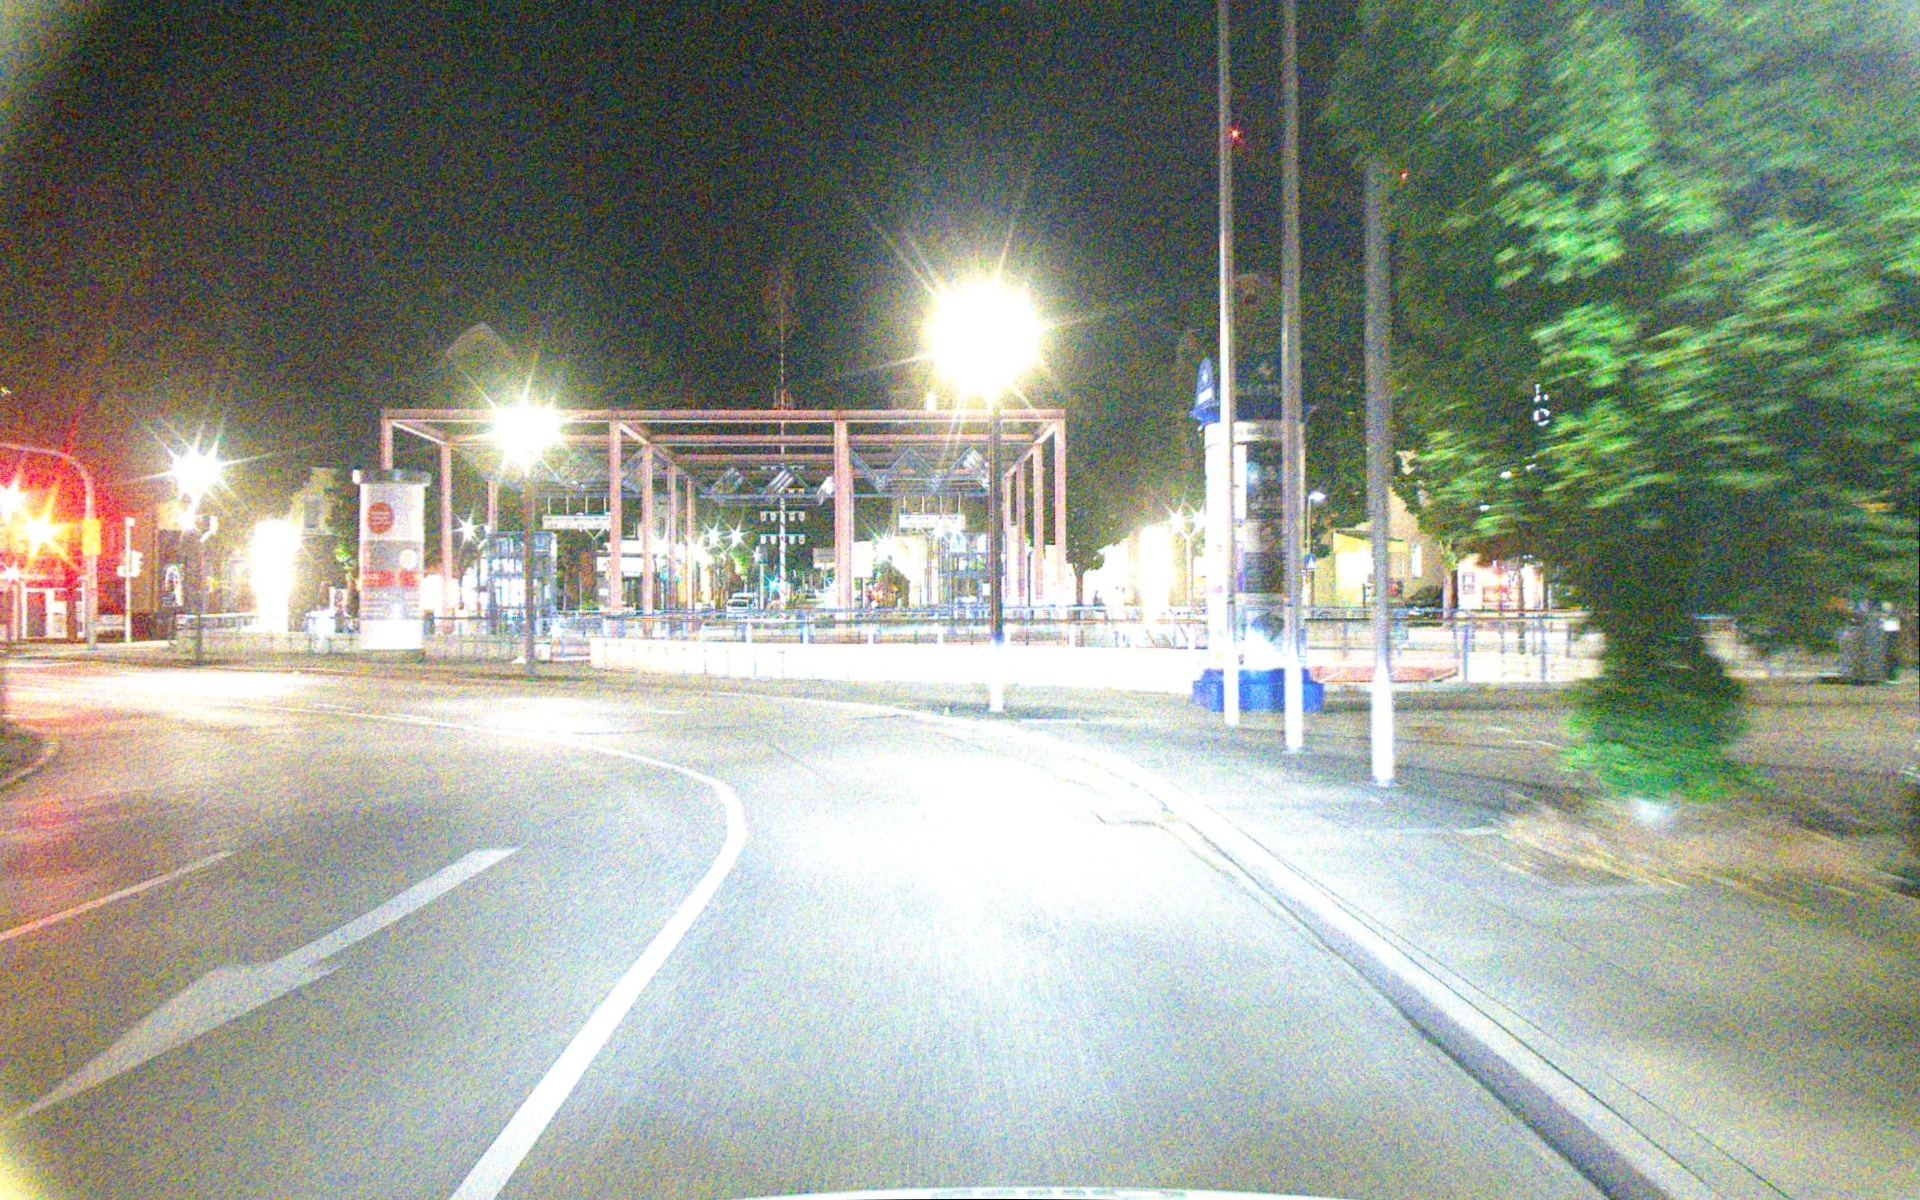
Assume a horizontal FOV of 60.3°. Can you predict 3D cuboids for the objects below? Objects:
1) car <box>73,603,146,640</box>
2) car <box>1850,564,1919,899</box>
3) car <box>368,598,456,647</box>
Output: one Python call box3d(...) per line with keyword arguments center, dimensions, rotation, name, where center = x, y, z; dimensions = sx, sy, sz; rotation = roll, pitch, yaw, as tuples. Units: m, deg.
box3d(center=(-38.609, 0.981, 75.062), dimensions=(1.985, 1.601, 3.594), rotation=(-1, 0, -45), name="car")
box3d(center=(5.266, 0.576, 5.540), dimensions=(1.700, 1.485, 4.722), rotation=(0, 0, -5), name="car")
box3d(center=(-18.915, 0.747, 57.289), dimensions=(1.955, 1.601, 4.323), rotation=(-1, 0, -5), name="car")
